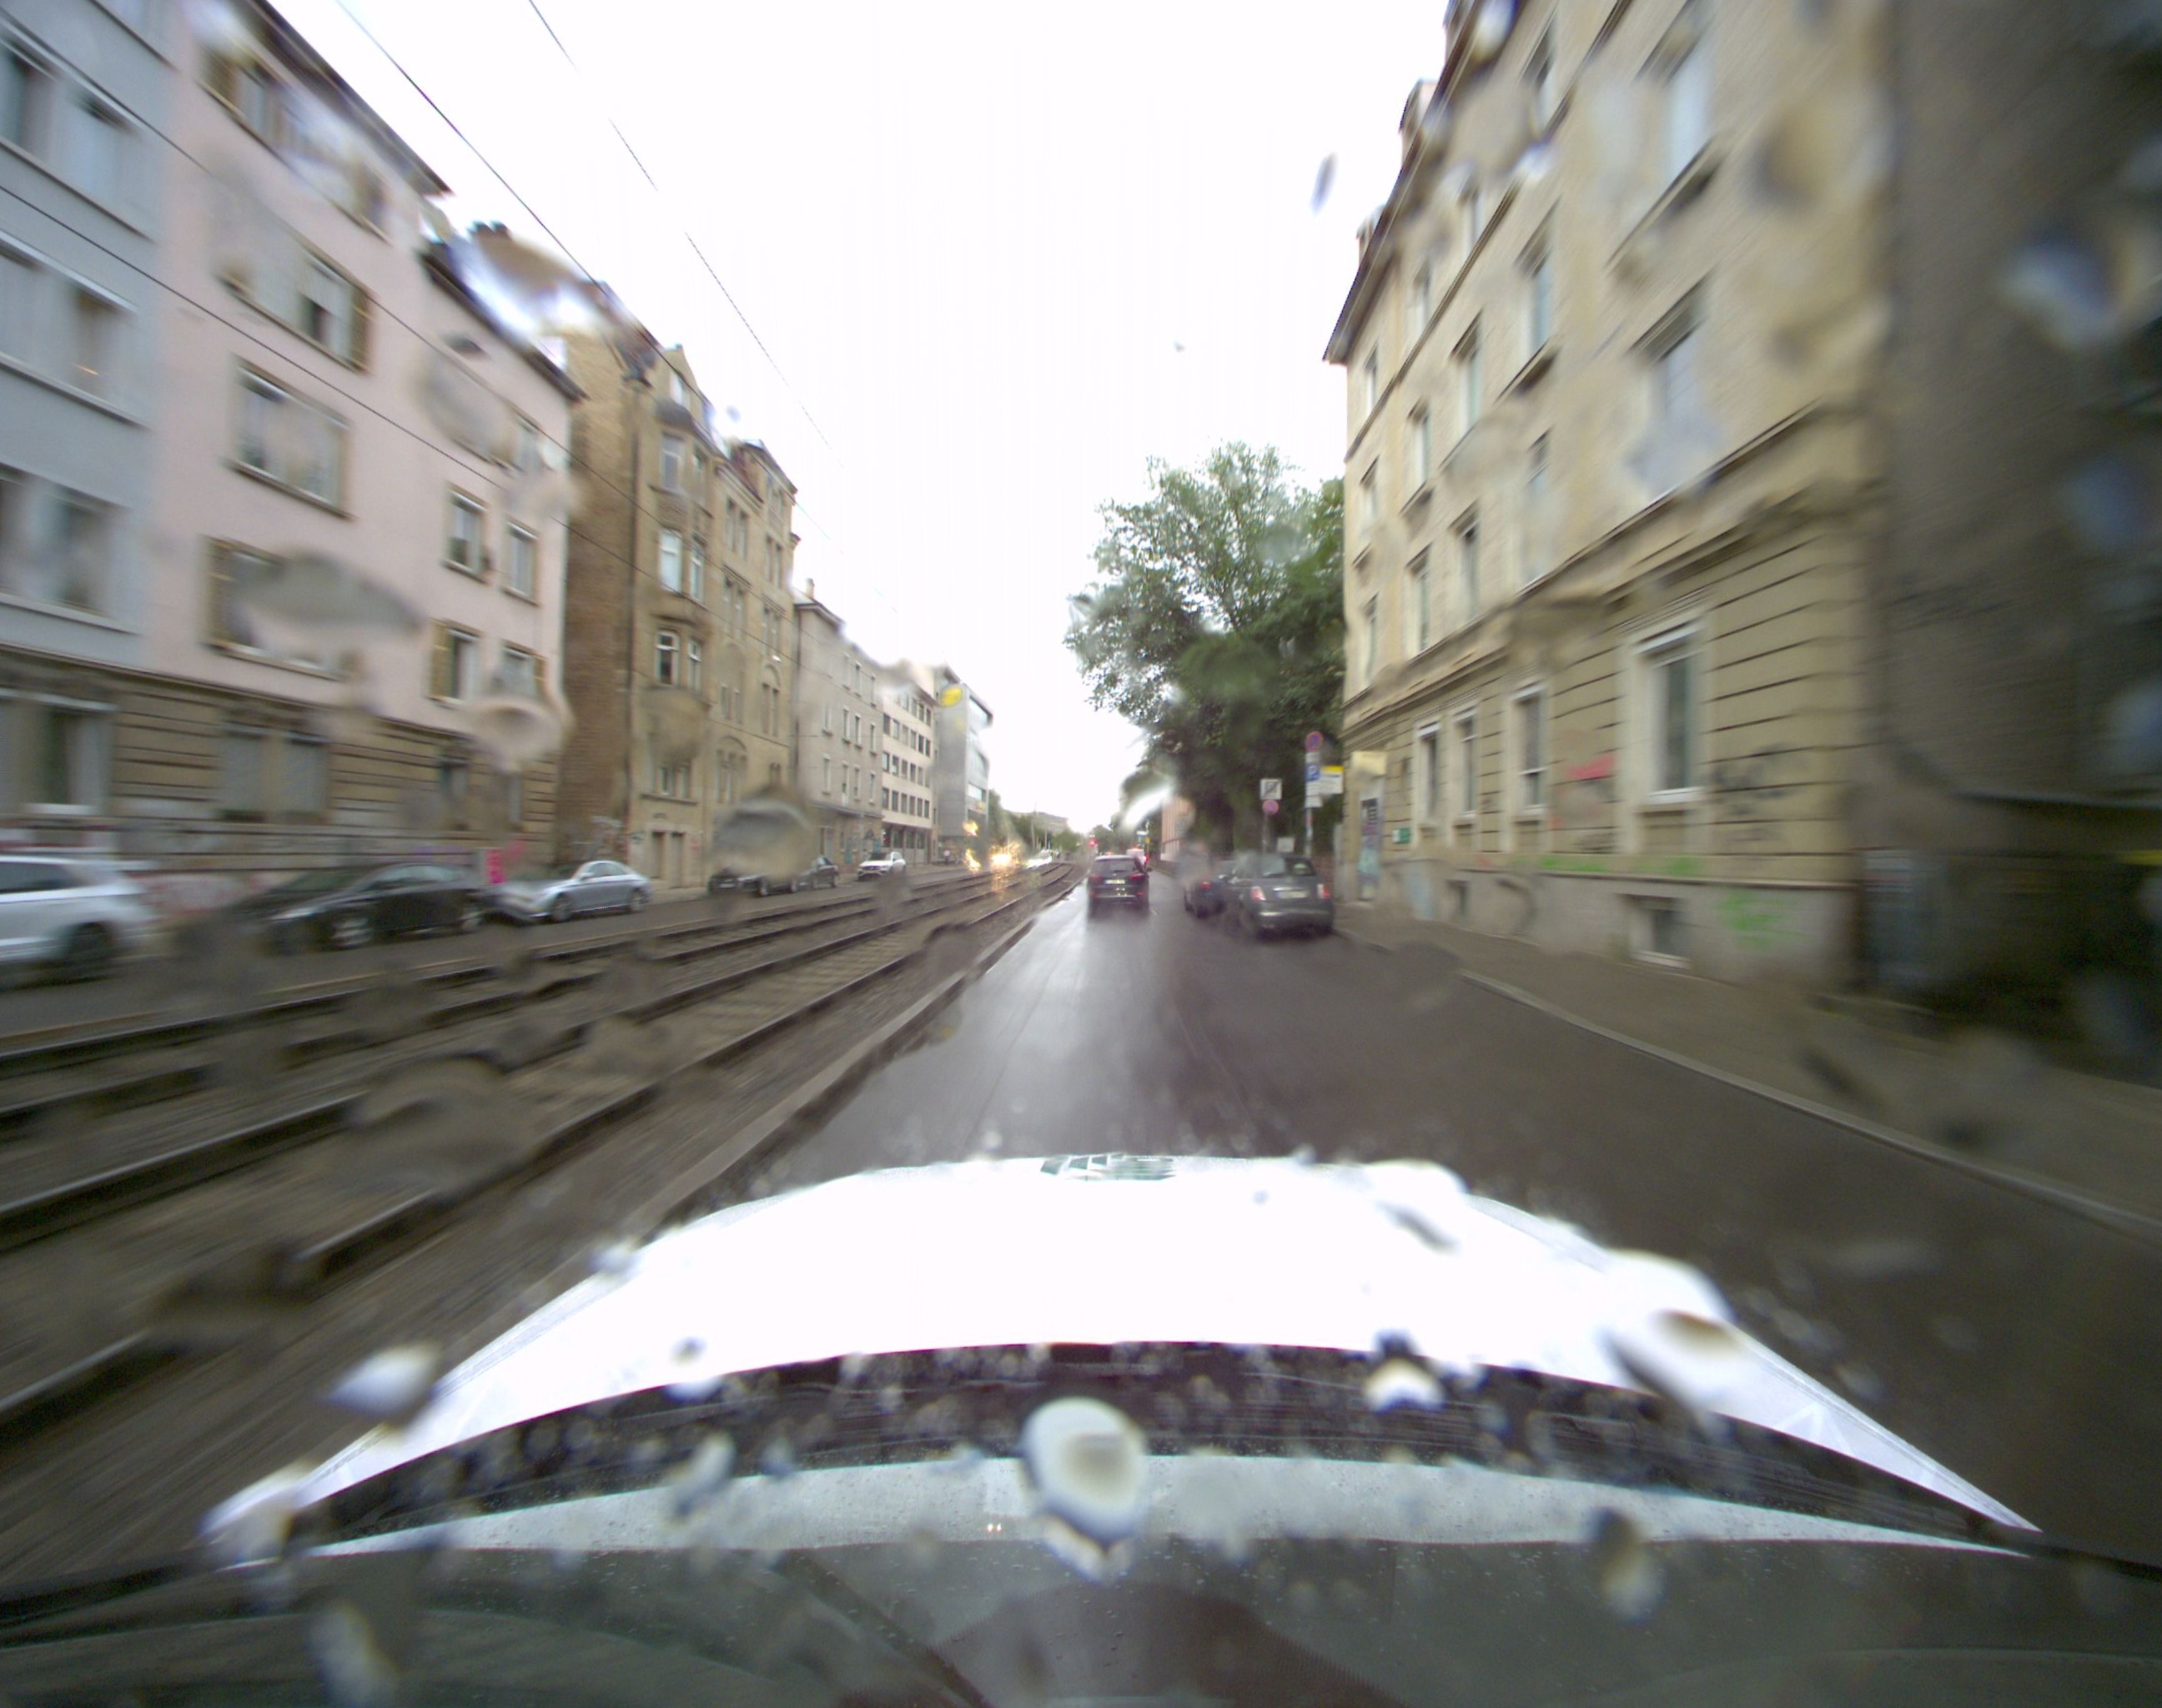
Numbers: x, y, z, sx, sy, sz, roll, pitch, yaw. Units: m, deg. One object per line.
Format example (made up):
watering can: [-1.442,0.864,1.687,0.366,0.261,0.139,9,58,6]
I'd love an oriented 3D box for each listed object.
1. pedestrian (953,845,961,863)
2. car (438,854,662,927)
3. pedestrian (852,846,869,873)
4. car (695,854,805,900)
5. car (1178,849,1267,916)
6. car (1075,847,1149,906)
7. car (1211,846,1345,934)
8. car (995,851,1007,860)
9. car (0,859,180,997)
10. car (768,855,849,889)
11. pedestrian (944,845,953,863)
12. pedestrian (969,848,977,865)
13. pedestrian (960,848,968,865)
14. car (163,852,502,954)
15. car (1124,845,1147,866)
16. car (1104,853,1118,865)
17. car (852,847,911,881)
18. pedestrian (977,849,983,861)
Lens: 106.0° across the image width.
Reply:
pedestrian: [-12.808,0.006,84.116,0.741,1.854,0.839,0,-2,1]
car: [-12.585,0.802,19.826,1.986,1.519,4.994,1,0,2]
pedestrian: [-14.036,0.348,51.899,0.799,1.750,0.984,1,-1,1]
car: [-12.140,0.804,30.253,1.986,1.519,4.678,1,0,2]
car: [3.473,0.649,20.608,1.637,1.516,4.040,1,0,1]
car: [0.944,0.653,24.090,1.985,1.594,4.273,0,-1,3]
car: [3.679,0.607,15.922,1.732,1.489,4.001,1,0,1]
car: [-13.171,0.305,134.379,1.991,1.442,3.992,1,0,-6]
car: [-13.182,0.832,8.726,1.986,1.519,4.437,1,0,2]
car: [-11.984,0.766,36.114,1.986,1.376,4.240,1,0,2]
pedestrian: [-13.717,-0.021,84.089,0.741,1.854,0.839,0,-2,1]
pedestrian: [-11.961,0.247,90.492,0.741,1.854,0.839,0,-2,1]
pedestrian: [-12.921,0.245,90.295,0.741,1.854,0.839,0,-2,1]
car: [-12.835,0.757,14.447,1.986,1.519,4.211,1,0,2]
car: [4.963,0.163,74.503,1.985,1.816,4.273,0,-1,3]
car: [4.235,0.682,114.975,1.985,1.594,4.273,0,-1,3]
car: [-11.571,0.585,47.593,1.986,1.839,5.072,1,0,2]
pedestrian: [-14.754,0.137,118.983,0.741,1.854,0.839,0,-2,1]
